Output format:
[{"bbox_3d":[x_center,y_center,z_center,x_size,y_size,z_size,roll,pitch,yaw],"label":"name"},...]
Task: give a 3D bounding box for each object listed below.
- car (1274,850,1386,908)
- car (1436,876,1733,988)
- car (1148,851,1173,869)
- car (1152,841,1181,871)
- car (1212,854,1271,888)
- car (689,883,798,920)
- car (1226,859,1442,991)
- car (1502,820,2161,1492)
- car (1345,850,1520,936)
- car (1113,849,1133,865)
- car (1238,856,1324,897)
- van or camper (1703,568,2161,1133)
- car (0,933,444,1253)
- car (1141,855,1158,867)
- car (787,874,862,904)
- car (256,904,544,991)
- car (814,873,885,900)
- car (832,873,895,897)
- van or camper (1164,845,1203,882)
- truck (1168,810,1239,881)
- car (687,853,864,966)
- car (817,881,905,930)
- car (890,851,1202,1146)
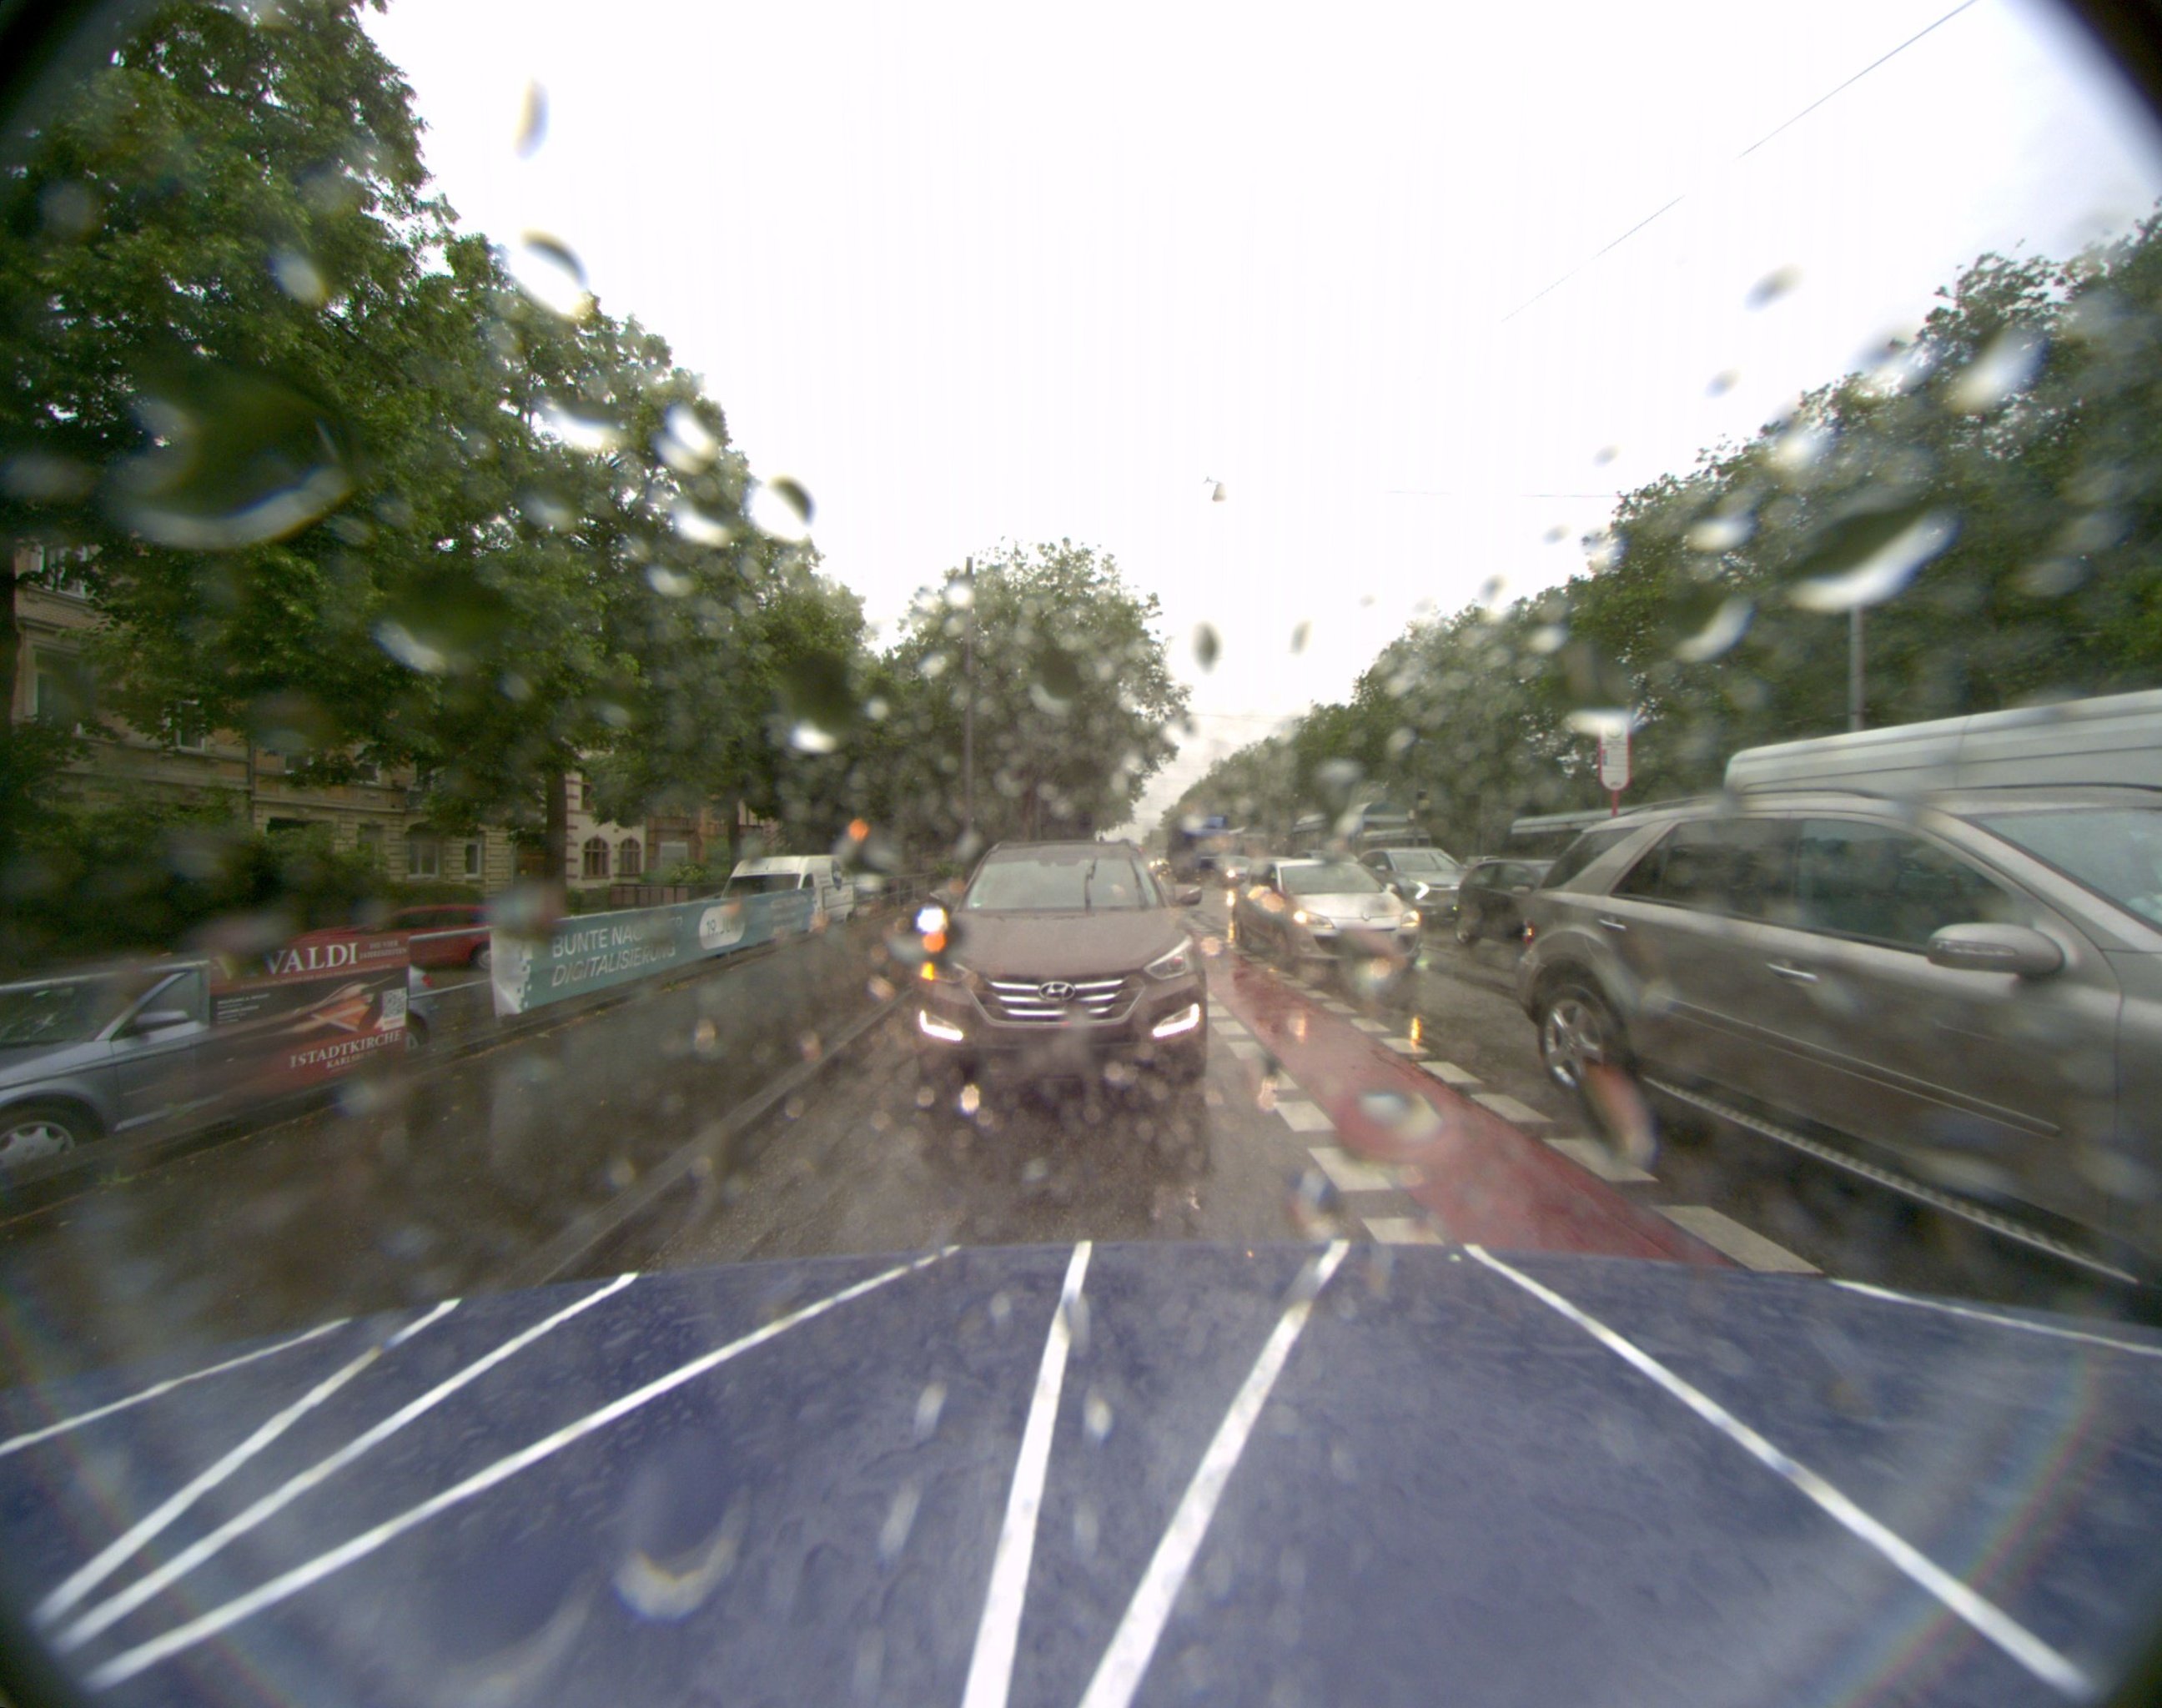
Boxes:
[{"bbox_3d":[7.563,0.691,23.576,1.999,1.611,4.319,-1,0,-1],"label":"car"},{"bbox_3d":[6.740,0.951,10.762,1.467,1.111,4.087,-2,0,0],"label":"car"},{"bbox_3d":[7.609,0.567,73.321,1.998,1.568,4.000,-2,0,1],"label":"car"},{"bbox_3d":[7.344,0.181,65.957,1.998,2.412,5.727,-2,0,3],"label":"car"},{"bbox_3d":[7.581,0.753,36.338,1.895,1.478,4.077,-1,0,-1],"label":"car"},{"bbox_3d":[-14.864,2.055,33.494,4.269,1.372,1.687,-1,1,-27],"label":"car"},{"bbox_3d":[3.395,0.864,11.054,1.772,1.469,4.000,-2,0,0],"label":"car"},{"bbox_3d":[3.820,0.759,2.798,2.030,1.760,4.462,-2,0,0],"label":"car"},{"bbox_3d":[7.465,0.733,16.697,1.919,1.614,4.454,0,0,2],"label":"car"},{"bbox_3d":[4.417,0.308,80.978,1.899,1.569,3.999,0,0,0],"label":"car"},{"bbox_3d":[7.521,0.793,29.054,1.999,1.386,4.606,0,0,-1],"label":"car"},{"bbox_3d":[7.059,-0.021,4.332,2.164,3.123,5.850,0,0,-1],"label":"van or camper"},{"bbox_3d":[-7.238,1.595,5.534,1.736,1.530,4.074,-2,0,-1],"label":"car"},{"bbox_3d":[7.171,0.704,79.931,1.467,1.185,3.615,-2,0,0],"label":"car"},{"bbox_3d":[-15.727,2.126,46.658,4.006,1.599,1.821,-2,1,-31],"label":"car"},{"bbox_3d":[-14.630,1.949,16.733,4.439,1.444,1.894,0,-1,-32],"label":"car"},{"bbox_3d":[-15.323,2.126,50.342,4.007,1.557,1.995,-2,1,-34],"label":"car"},{"bbox_3d":[-15.730,2.208,55.018,4.007,1.455,1.908,-2,1,-34],"label":"car"},{"bbox_3d":[7.640,0.639,57.111,1.998,2.555,6.431,-2,0,0],"label":"van or camper"},{"bbox_3d":[7.256,-0.482,46.344,2.545,3.866,9.810,1,0,-1],"label":"truck"},{"bbox_3d":[-7.709,1.238,20.089,2.214,2.406,6.157,-3,0,-2],"label":"car"},{"bbox_3d":[-7.760,1.771,27.242,1.972,1.345,4.383,-3,0,-3],"label":"car"},{"bbox_3d":[-0.137,0.830,6.211,1.756,1.657,3.678,-2,0,2],"label":"car"}]
